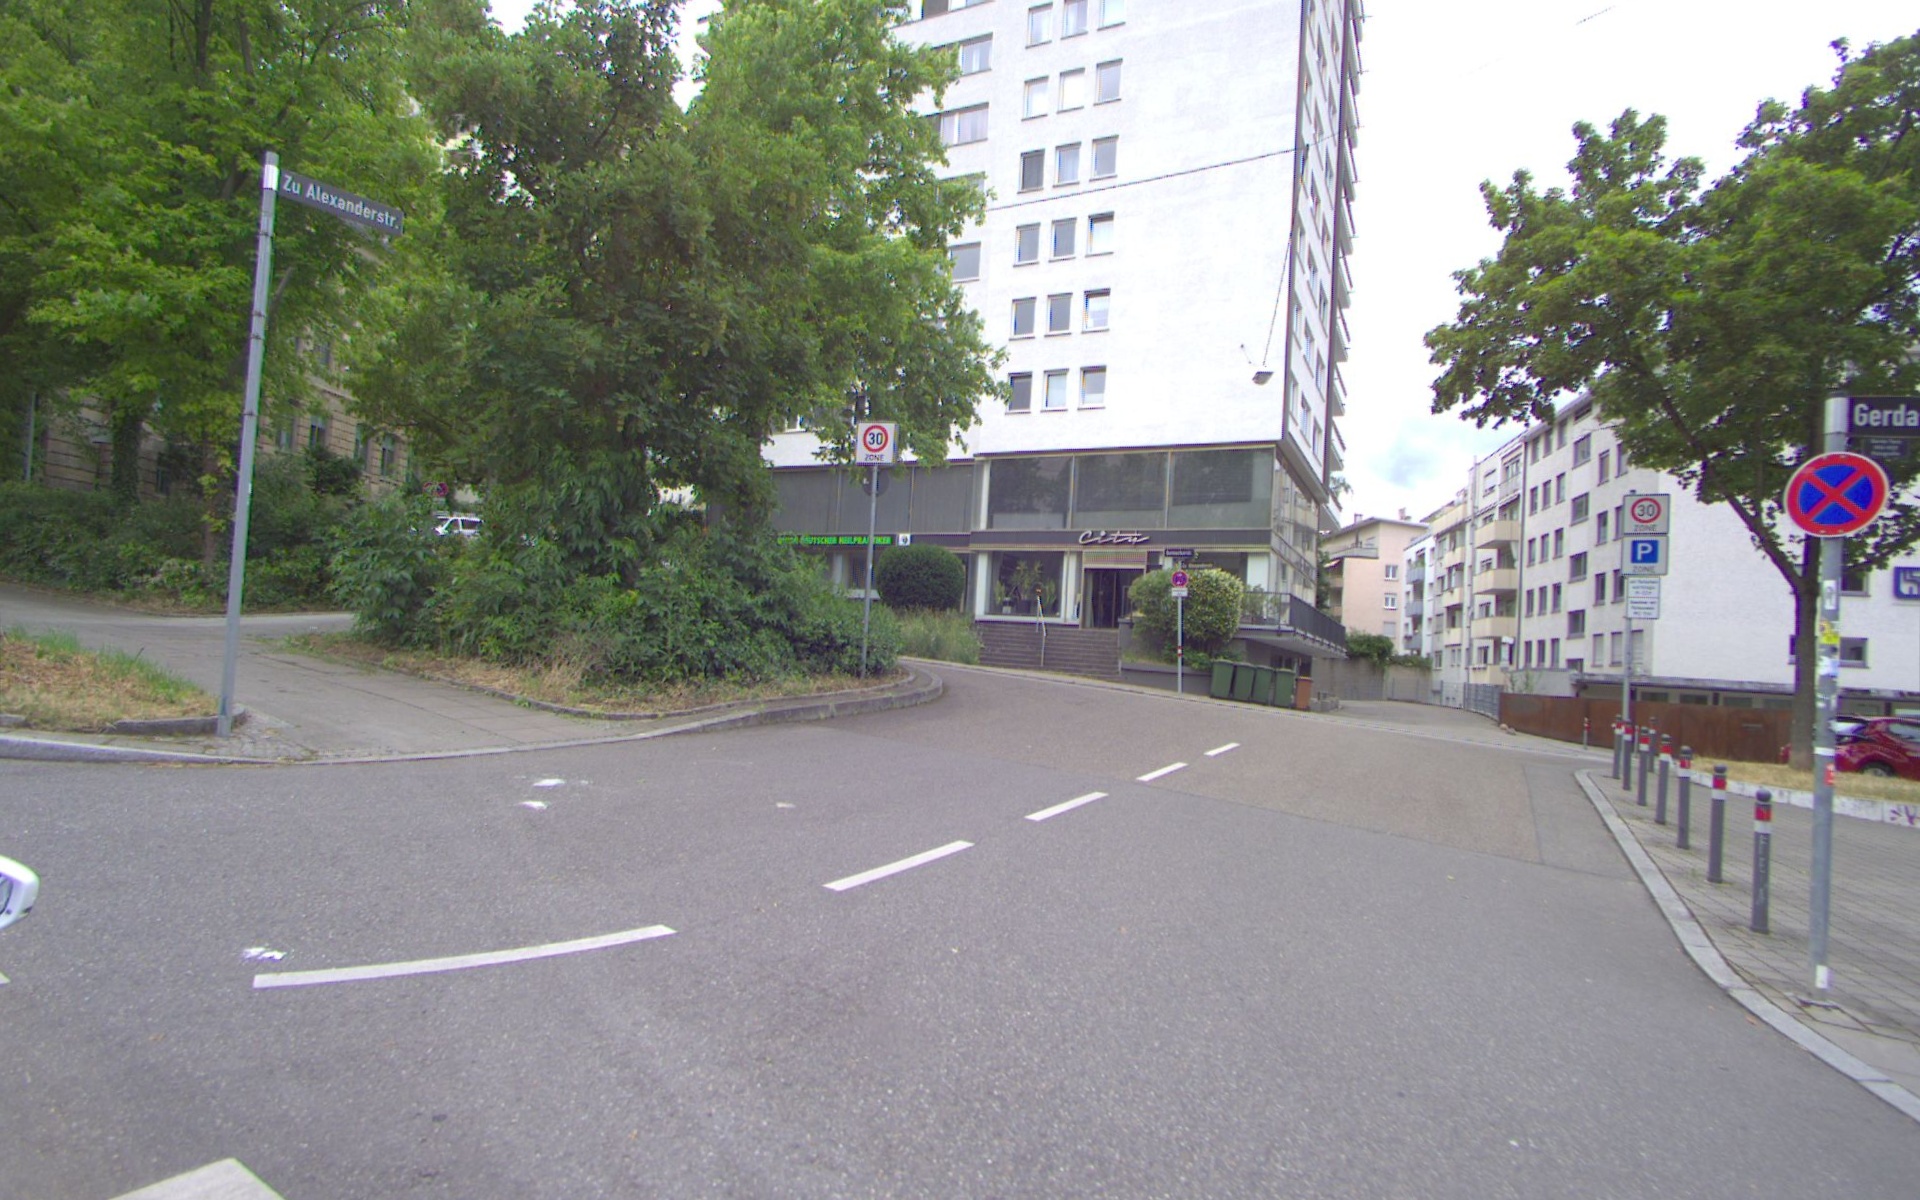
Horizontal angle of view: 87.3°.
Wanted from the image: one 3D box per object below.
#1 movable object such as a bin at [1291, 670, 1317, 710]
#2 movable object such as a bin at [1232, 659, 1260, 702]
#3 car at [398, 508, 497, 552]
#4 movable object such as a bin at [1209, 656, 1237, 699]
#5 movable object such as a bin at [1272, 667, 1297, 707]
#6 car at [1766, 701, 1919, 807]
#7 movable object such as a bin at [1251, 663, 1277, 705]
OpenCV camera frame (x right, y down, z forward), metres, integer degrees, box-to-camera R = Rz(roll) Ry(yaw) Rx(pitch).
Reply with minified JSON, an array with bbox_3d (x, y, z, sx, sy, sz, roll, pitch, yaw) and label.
[{"bbox_3d":[9.412,2.452,27.517,0.485,1.030,0.547,6,0,10],"label":"movable object such as a bin"},{"bbox_3d":[7.727,2.165,27.180,0.565,1.082,0.554,6,0,10],"label":"movable object such as a bin"},{"bbox_3d":[-27.445,-3.715,54.072,2.136,1.959,5.215,4,1,7],"label":"car"},{"bbox_3d":[7.130,2.090,27.280,0.599,1.092,0.554,6,0,10],"label":"movable object such as a bin"},{"bbox_3d":[8.902,2.377,27.613,0.485,1.037,0.547,6,0,10],"label":"movable object such as a bin"},{"bbox_3d":[17.436,2.923,18.459,3.646,1.584,1.750,7,-1,5],"label":"car"},{"bbox_3d":[8.366,2.305,27.707,0.528,1.054,0.536,6,0,10],"label":"movable object such as a bin"}]
